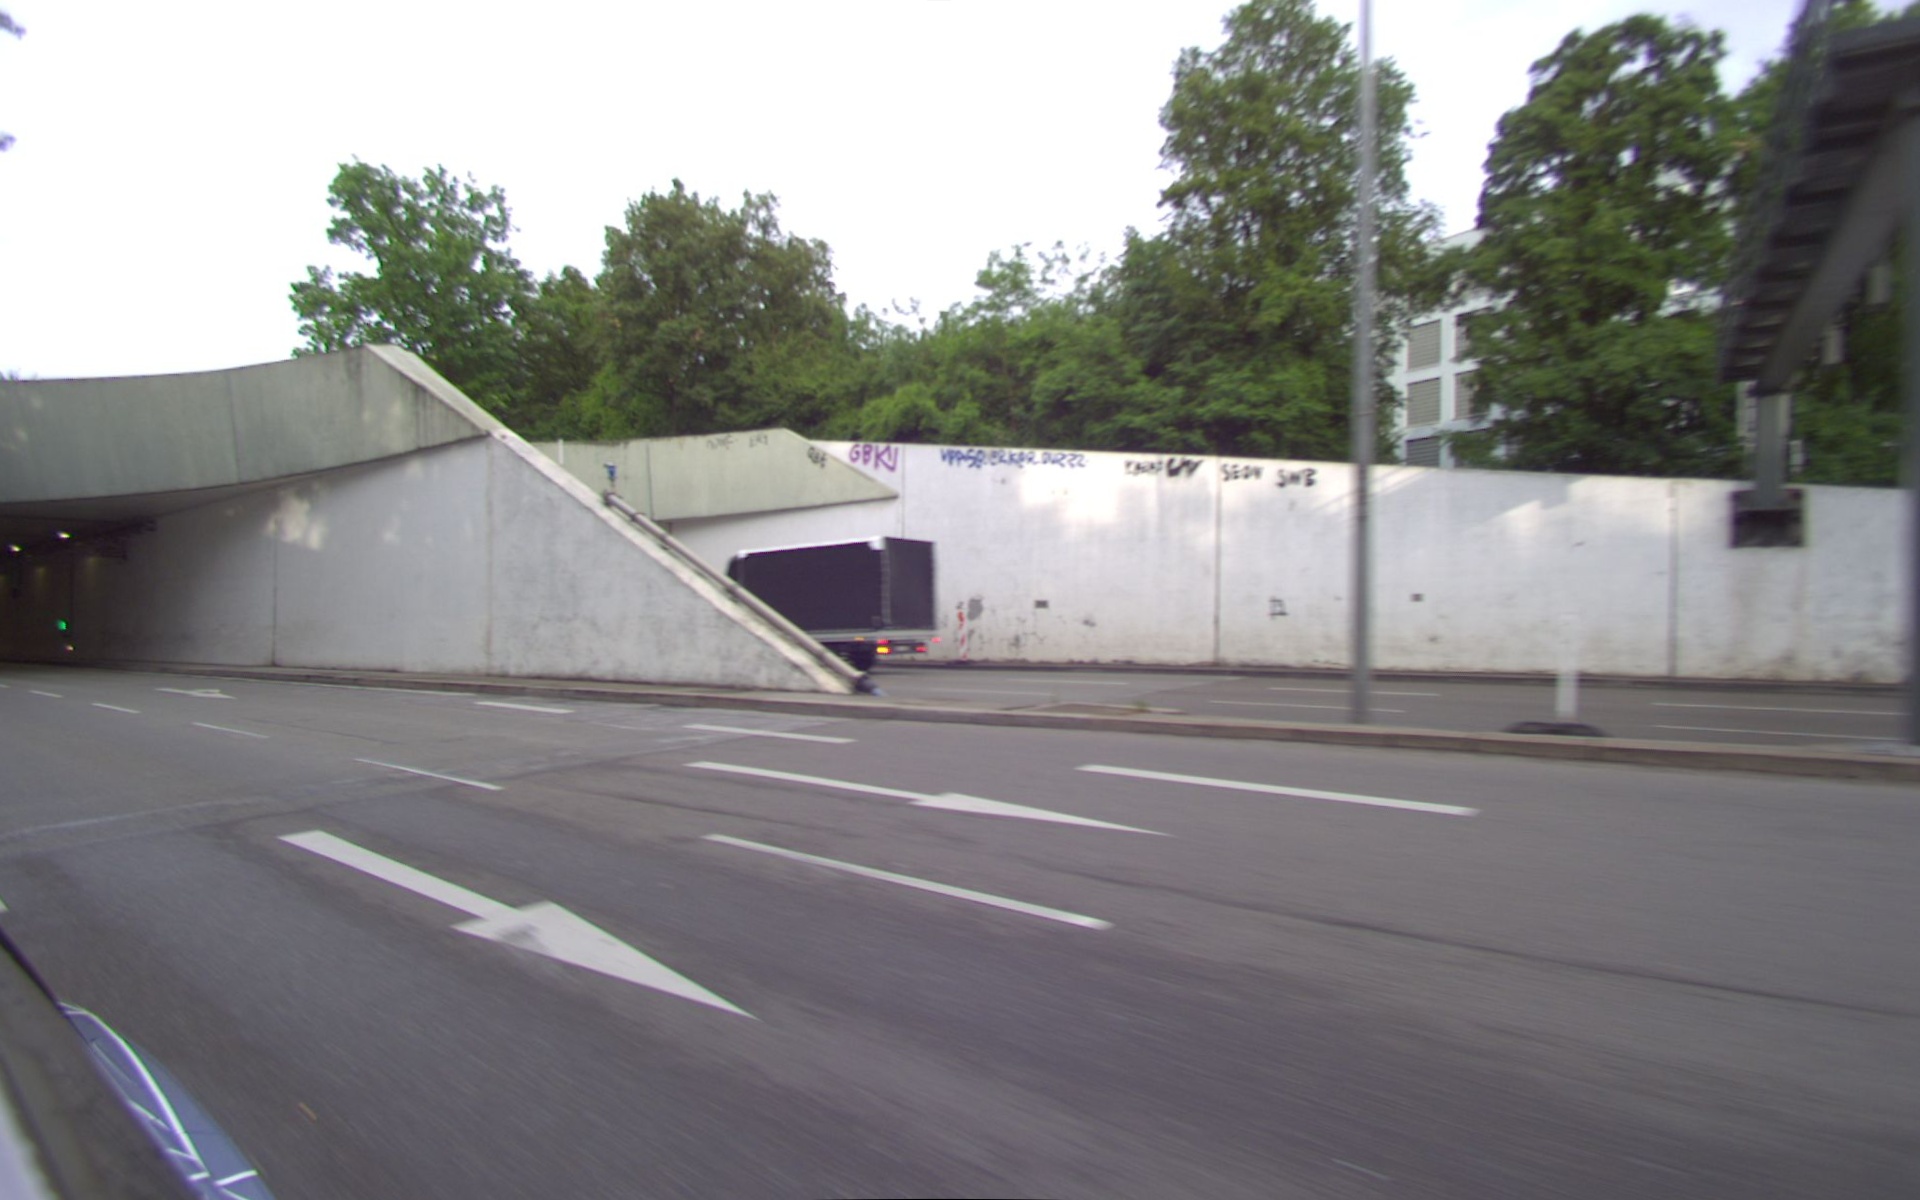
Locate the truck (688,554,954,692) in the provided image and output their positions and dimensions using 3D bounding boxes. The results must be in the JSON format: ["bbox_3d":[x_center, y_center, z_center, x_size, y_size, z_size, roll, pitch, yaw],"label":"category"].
[{"bbox_3d":[-3.898,0.677,27.456,7.129,3.301,2.773,-2,-2,35],"label":"truck"}]
